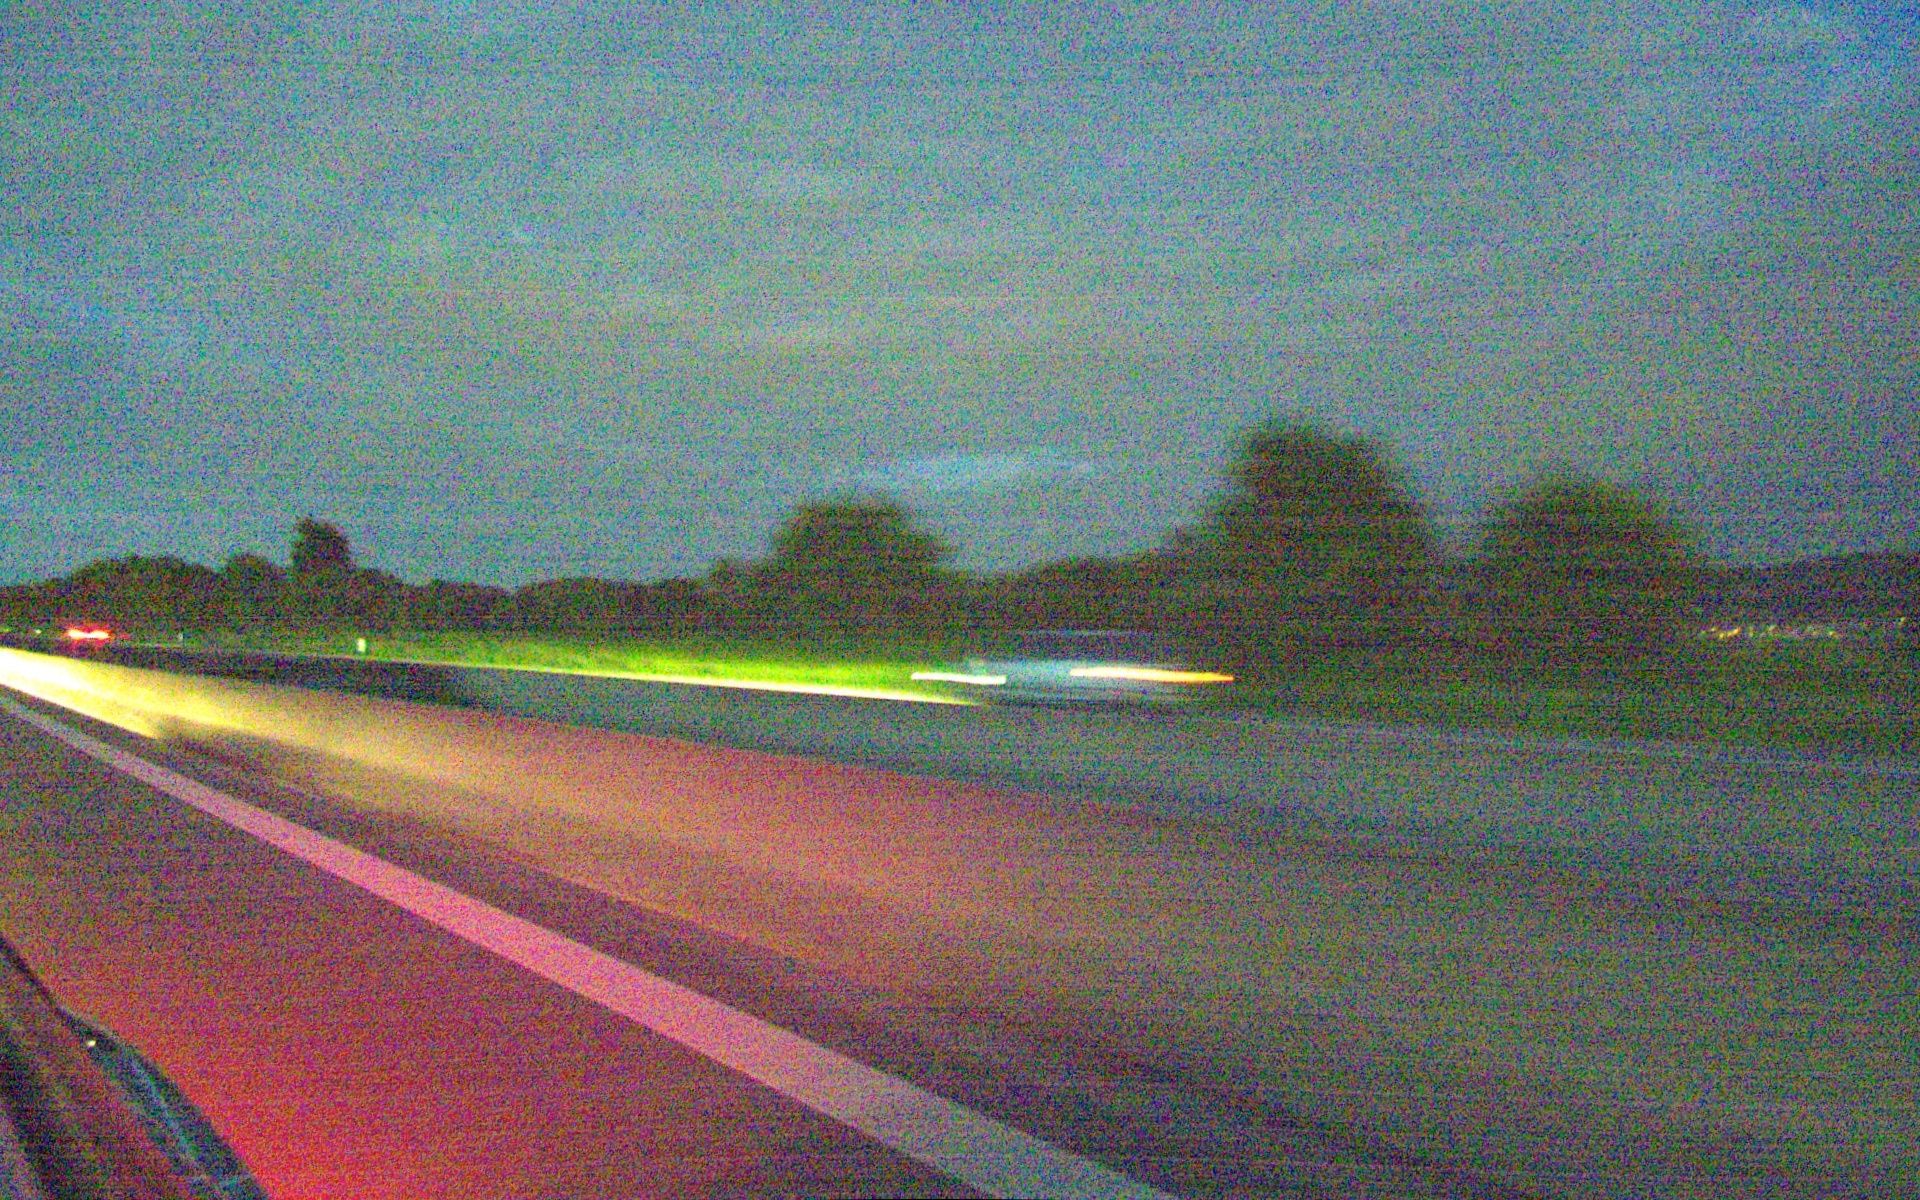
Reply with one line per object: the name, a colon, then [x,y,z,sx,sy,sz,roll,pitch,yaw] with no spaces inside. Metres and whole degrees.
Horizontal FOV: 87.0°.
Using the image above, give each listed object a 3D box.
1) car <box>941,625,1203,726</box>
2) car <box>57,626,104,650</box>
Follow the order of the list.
car: [2.079,1.385,19.685,4.773,1.733,2.023,-1,-4,42]
car: [-63.271,2.683,72.790,5.297,1.655,1.883,-1,-3,42]
